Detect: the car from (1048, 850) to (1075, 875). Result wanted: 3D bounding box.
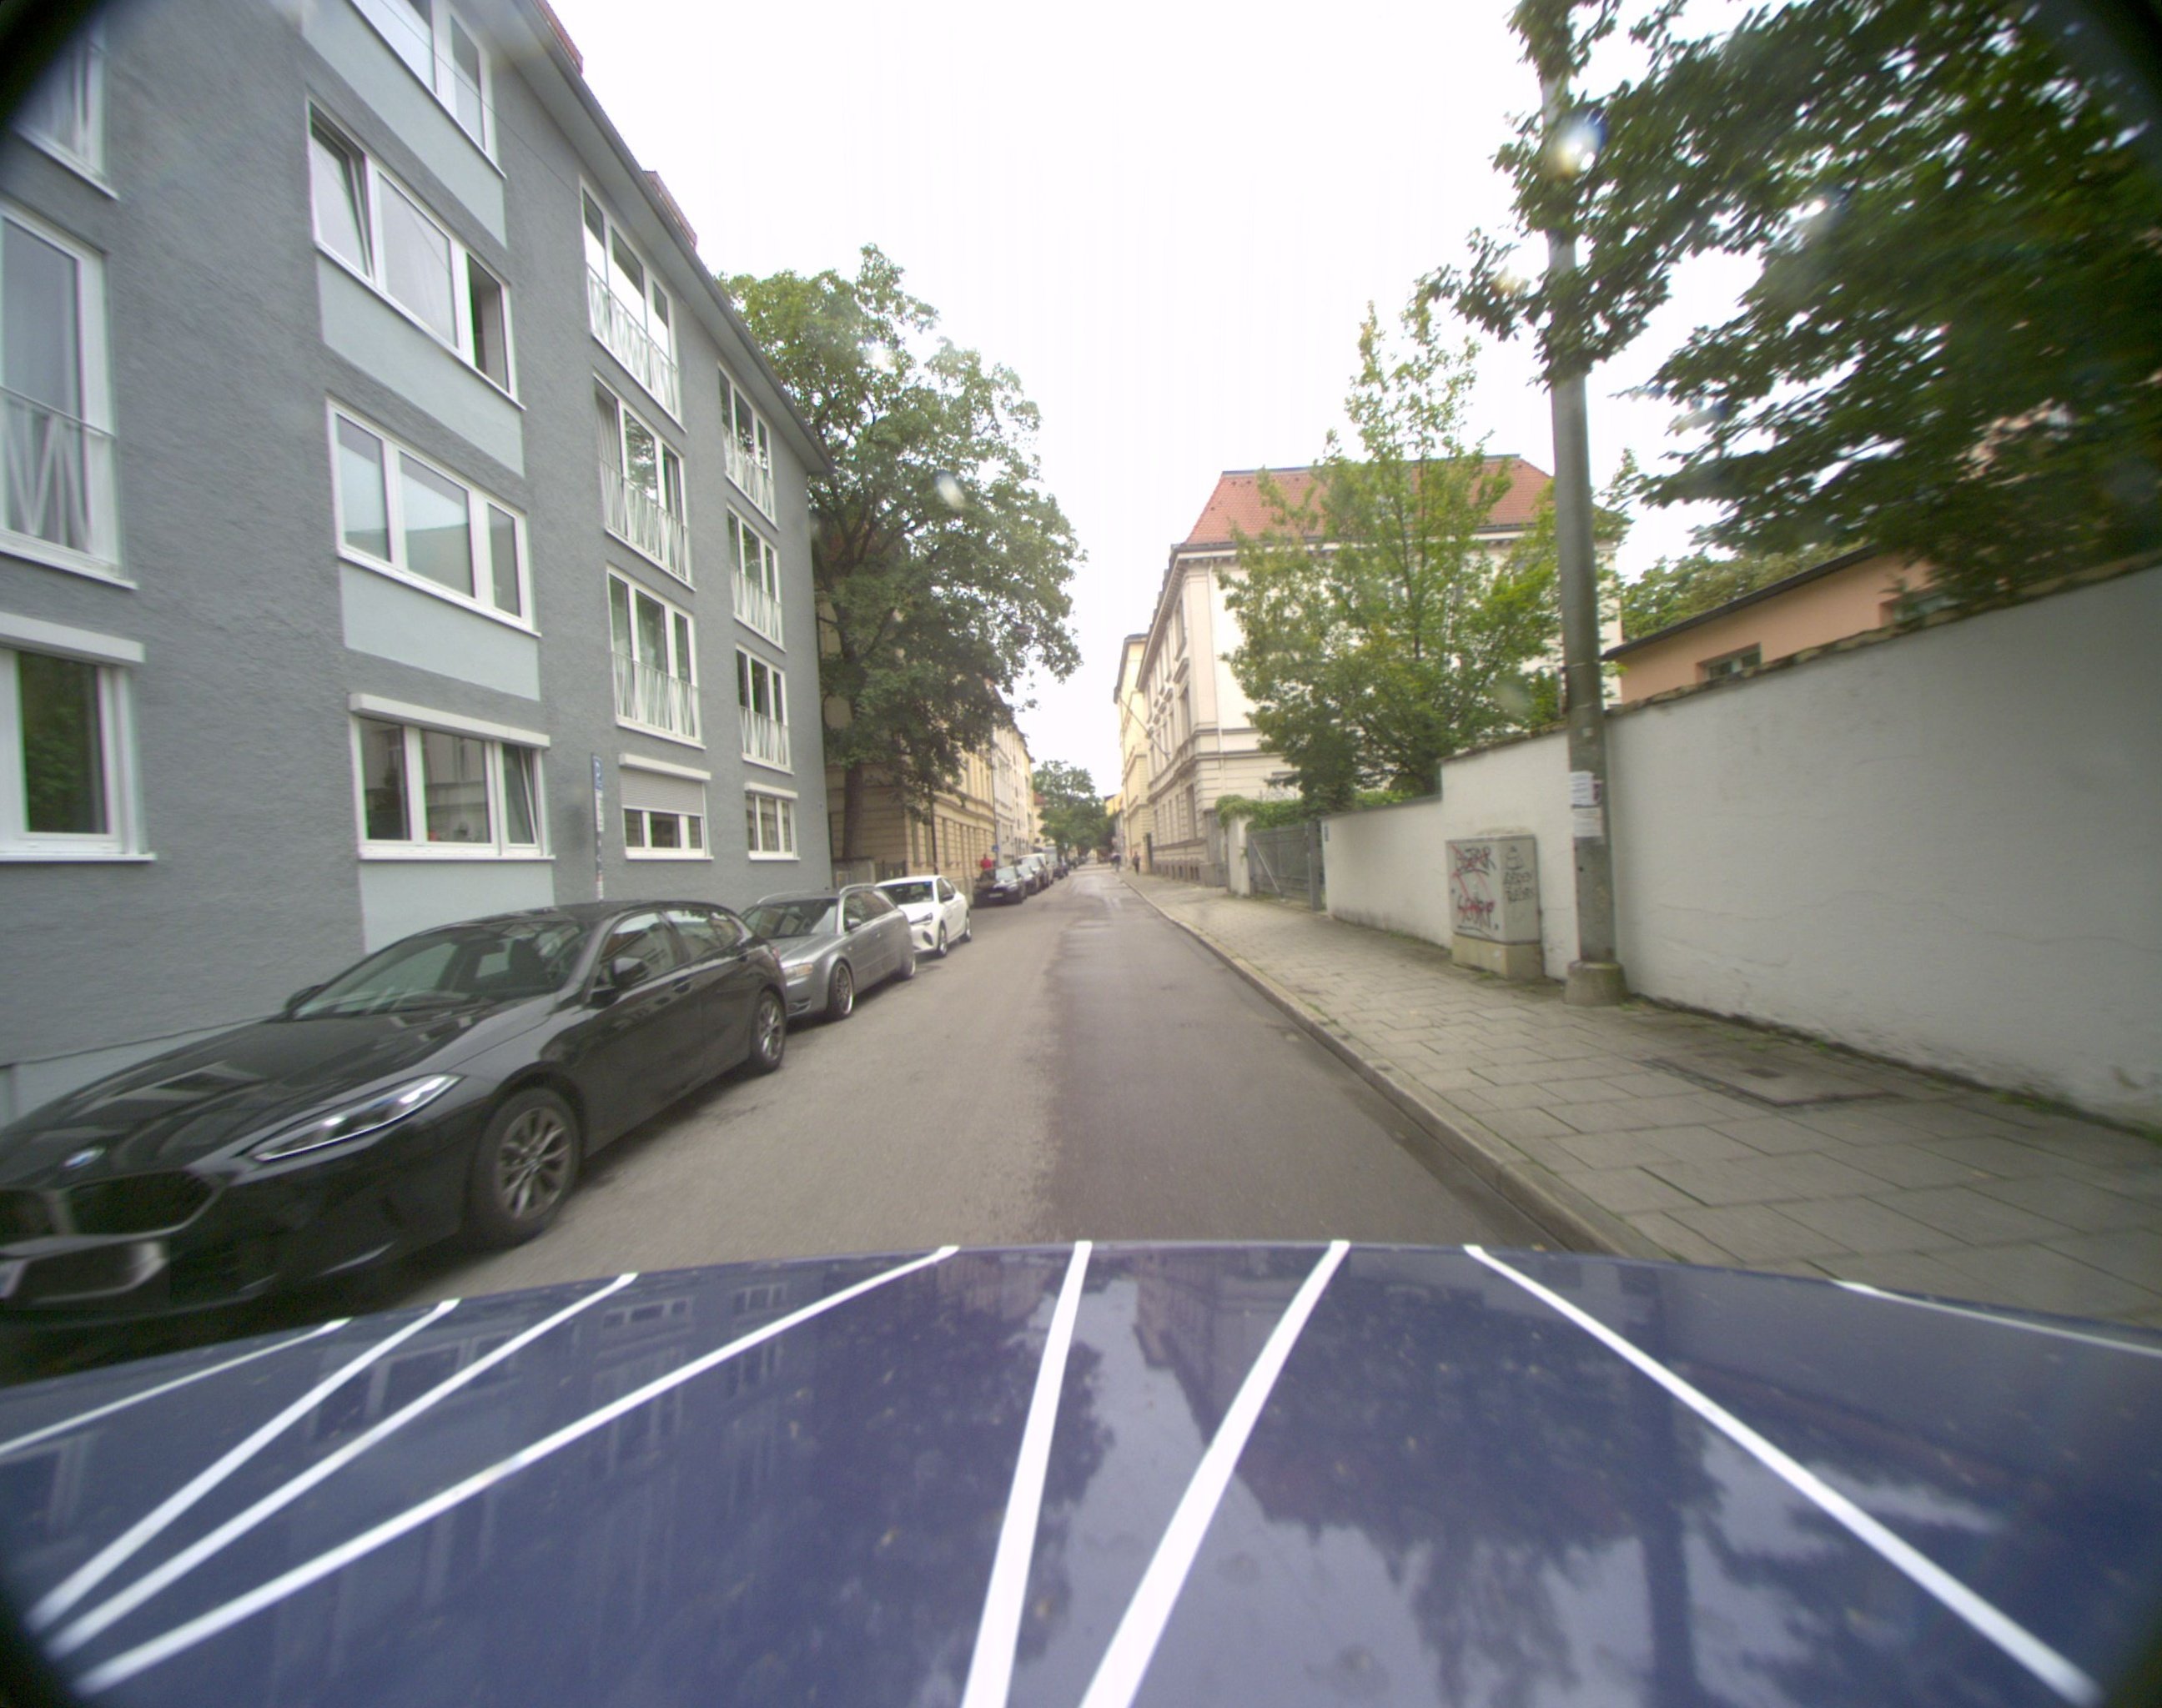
[{"bbox_3d":[-1.802,0.744,72.038,2.014,1.989,5.090,-8,0,2],"label":"car"}]

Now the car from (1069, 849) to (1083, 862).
[{"bbox_3d":[-0.809,0.232,135.854,2.014,1.969,5.090,-8,0,2],"label":"car"}]

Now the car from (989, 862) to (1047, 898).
[{"bbox_3d":[-2.740,1.109,34.188,1.998,1.306,4.593,-4,0,2],"label":"car"}]

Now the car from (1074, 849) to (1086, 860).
[{"bbox_3d":[-0.241,0.165,156.128,2.014,1.969,5.090,-8,0,2],"label":"car"}]

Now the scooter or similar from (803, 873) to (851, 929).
[{"bbox_3d":[-5.792,1.056,17.402,0.506,1.167,1.376,-3,1,2],"label":"scooter or similar"}]

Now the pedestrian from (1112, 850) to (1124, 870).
[{"bbox_3d":[3.397,0.552,69.281,0.920,1.742,1.066,-4,1,1],"label":"pedestrian"}]

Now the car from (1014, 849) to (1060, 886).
[{"bbox_3d":[-2.562,0.753,45.520,1.998,2.002,5.064,-4,0,3],"label":"car"}]

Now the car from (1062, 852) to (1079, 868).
[{"bbox_3d":[-1.485,0.831,109.620,2.014,1.969,5.090,-8,0,2],"label":"car"}]

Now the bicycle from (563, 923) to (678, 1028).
[{"bbox_3d":[-6.029,1.548,10.047,0.378,1.103,1.686,-4,0,2],"label":"bicycle"}]

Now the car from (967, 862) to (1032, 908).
[{"bbox_3d":[-3.011,1.119,28.973,1.860,1.366,4.509,-6,0,0],"label":"car"}]

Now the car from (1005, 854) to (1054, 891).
[{"bbox_3d":[-2.606,0.918,39.500,1.998,1.677,4.510,-4,0,2],"label":"car"}]

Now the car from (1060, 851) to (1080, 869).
[{"bbox_3d":[-1.390,0.684,95.184,2.014,1.914,5.090,-8,0,2],"label":"car"}]

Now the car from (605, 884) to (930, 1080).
[{"bbox_3d":[-3.355,1.279,9.275,1.794,1.393,4.485,-8,0,2],"label":"car"}]

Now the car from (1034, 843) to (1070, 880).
[{"bbox_3d":[-2.181,0.525,58.621,2.014,2.479,5.090,-8,0,2],"label":"car"}]

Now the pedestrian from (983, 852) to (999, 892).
[{"bbox_3d":[-4.545,0.915,38.389,0.581,1.966,0.455,-5,1,1],"label":"pedestrian"}]

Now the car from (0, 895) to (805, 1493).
[{"bbox_3d":[-3.342,1.172,4.339,1.845,1.420,4.263,-8,0,-1],"label":"car"}]

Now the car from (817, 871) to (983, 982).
[{"bbox_3d":[-3.174,1.215,14.334,1.773,1.437,4.344,-8,0,2],"label":"car"}]

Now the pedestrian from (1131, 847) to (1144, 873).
[{"bbox_3d":[3.933,0.441,53.124,0.766,1.742,0.970,-4,1,1],"label":"pedestrian"}]

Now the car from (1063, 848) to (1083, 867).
[{"bbox_3d":[-1.037,0.458,101.645,2.242,2.247,5.090,-8,0,2],"label":"car"}]
